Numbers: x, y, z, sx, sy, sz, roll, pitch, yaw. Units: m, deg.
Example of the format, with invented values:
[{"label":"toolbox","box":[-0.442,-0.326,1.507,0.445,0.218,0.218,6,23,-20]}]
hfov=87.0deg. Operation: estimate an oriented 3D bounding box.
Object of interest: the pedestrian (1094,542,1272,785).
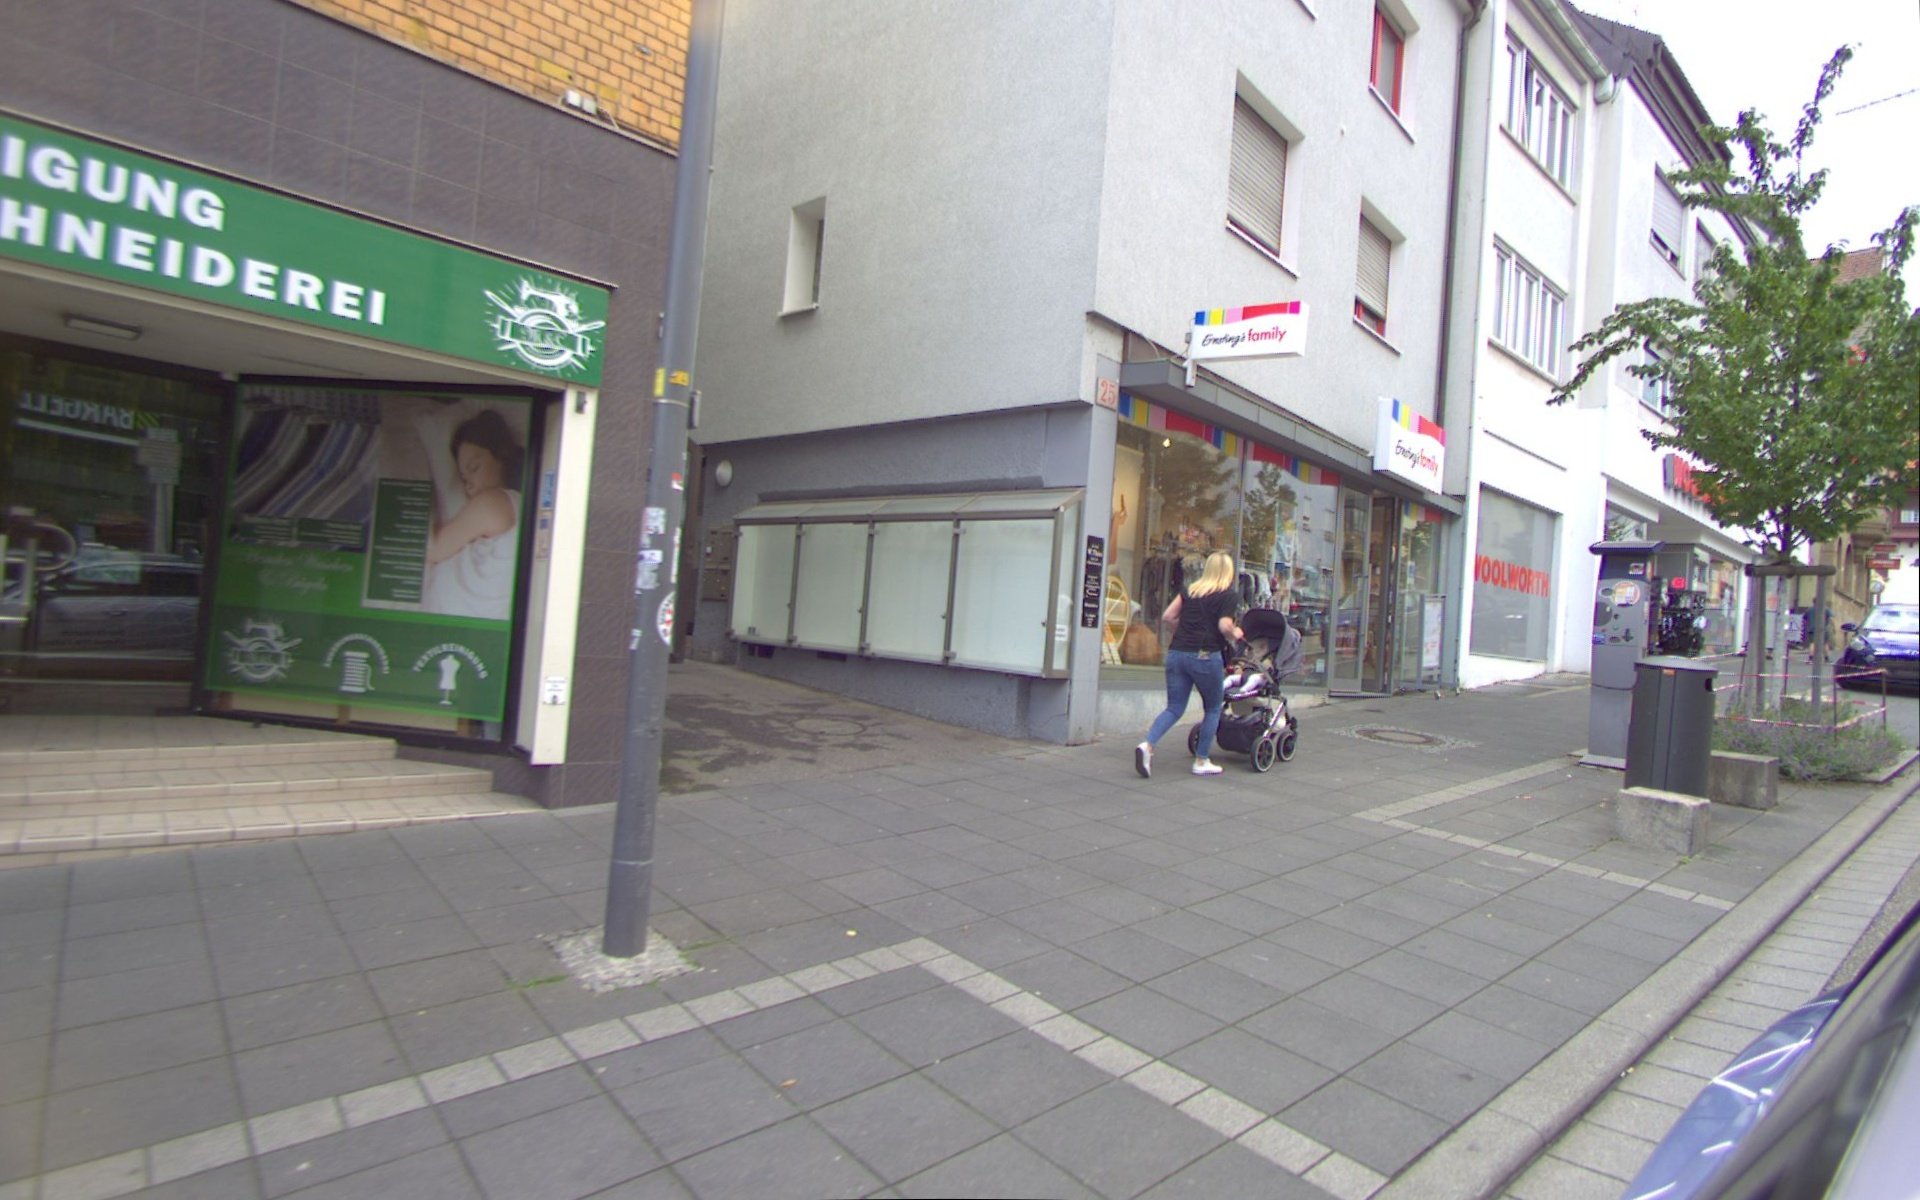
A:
[{"label":"pedestrian","box":[1.624,0.416,7.366,0.983,1.604,0.737,1,3,-42]}]

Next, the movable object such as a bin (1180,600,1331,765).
[{"label":"movable object such as a bin","box":[2.333,0.610,7.993,0.891,1.172,0.723,1,3,-42]}]

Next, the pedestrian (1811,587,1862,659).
[{"label":"pedestrian","box":[19.927,0.522,23.002,0.804,1.580,0.757,2,1,-43]}]

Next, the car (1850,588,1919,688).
[{"label":"car","box":[16.420,0.614,17.141,1.750,1.515,3.739,6,4,44]}]
